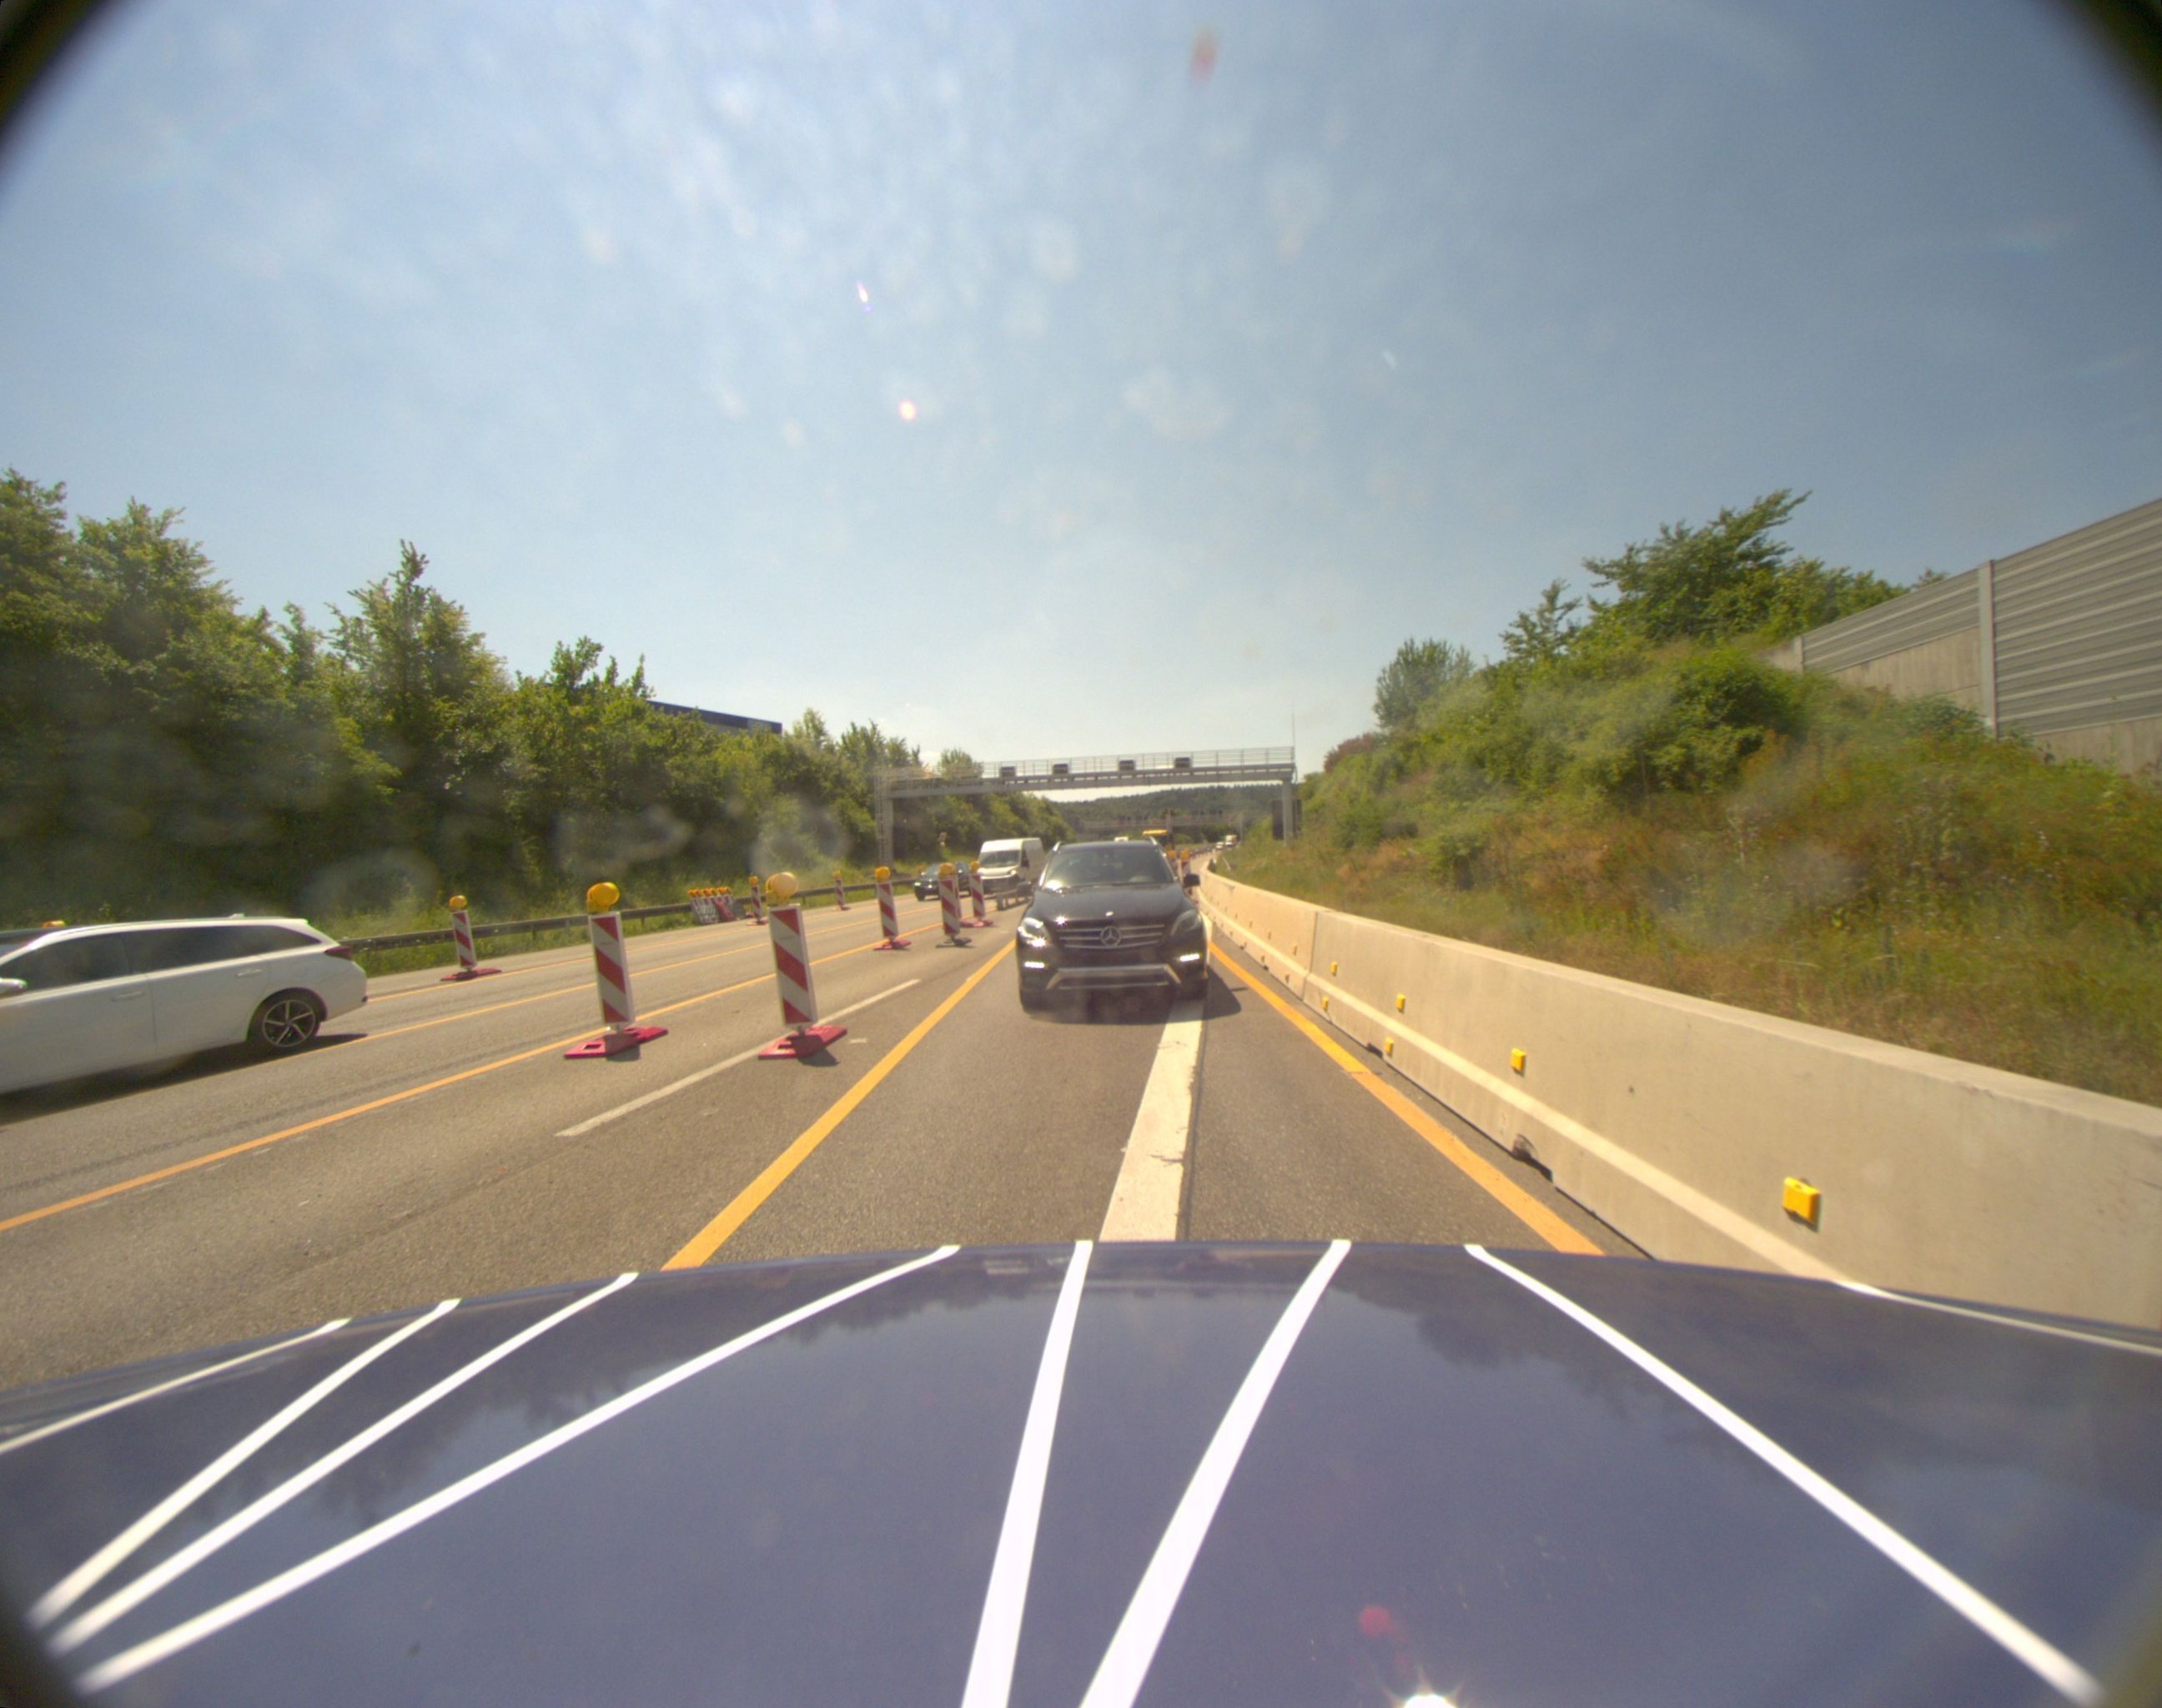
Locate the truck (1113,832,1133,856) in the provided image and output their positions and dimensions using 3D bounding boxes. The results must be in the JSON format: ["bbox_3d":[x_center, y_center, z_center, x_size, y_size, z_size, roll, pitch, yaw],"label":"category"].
[{"bbox_3d":[7.138,-1.643,127.767,2.532,3.927,5.602,-4,0,8],"label":"truck"}]

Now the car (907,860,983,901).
[{"bbox_3d":[-6.243,1.172,35.650,2.023,1.653,5.239,-3,0,6],"label":"car"}]

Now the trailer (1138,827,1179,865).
[{"bbox_3d":[8.891,-0.747,84.874,3.234,3.645,17.435,-3,-1,10],"label":"trailer"}]

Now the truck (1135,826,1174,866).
[{"bbox_3d":[7.486,-0.752,76.541,3.227,3.639,7.088,-3,-1,9],"label":"truck"}]

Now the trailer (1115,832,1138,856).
[{"bbox_3d":[8.201,-1.738,134.763,2.545,3.929,13.877,-4,0,9],"label":"trailer"}]

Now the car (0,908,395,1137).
[{"bbox_3d":[-9.215,1.489,6.674,1.819,1.456,4.652,-4,1,4],"label":"car"}]

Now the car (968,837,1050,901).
[{"bbox_3d":[-3.099,0.606,34.585,2.270,2.521,6.587,-3,0,6],"label":"car"}]

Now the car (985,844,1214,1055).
[{"bbox_3d":[0.390,0.790,8.565,1.819,1.685,4.495,-3,0,6],"label":"car"}]
